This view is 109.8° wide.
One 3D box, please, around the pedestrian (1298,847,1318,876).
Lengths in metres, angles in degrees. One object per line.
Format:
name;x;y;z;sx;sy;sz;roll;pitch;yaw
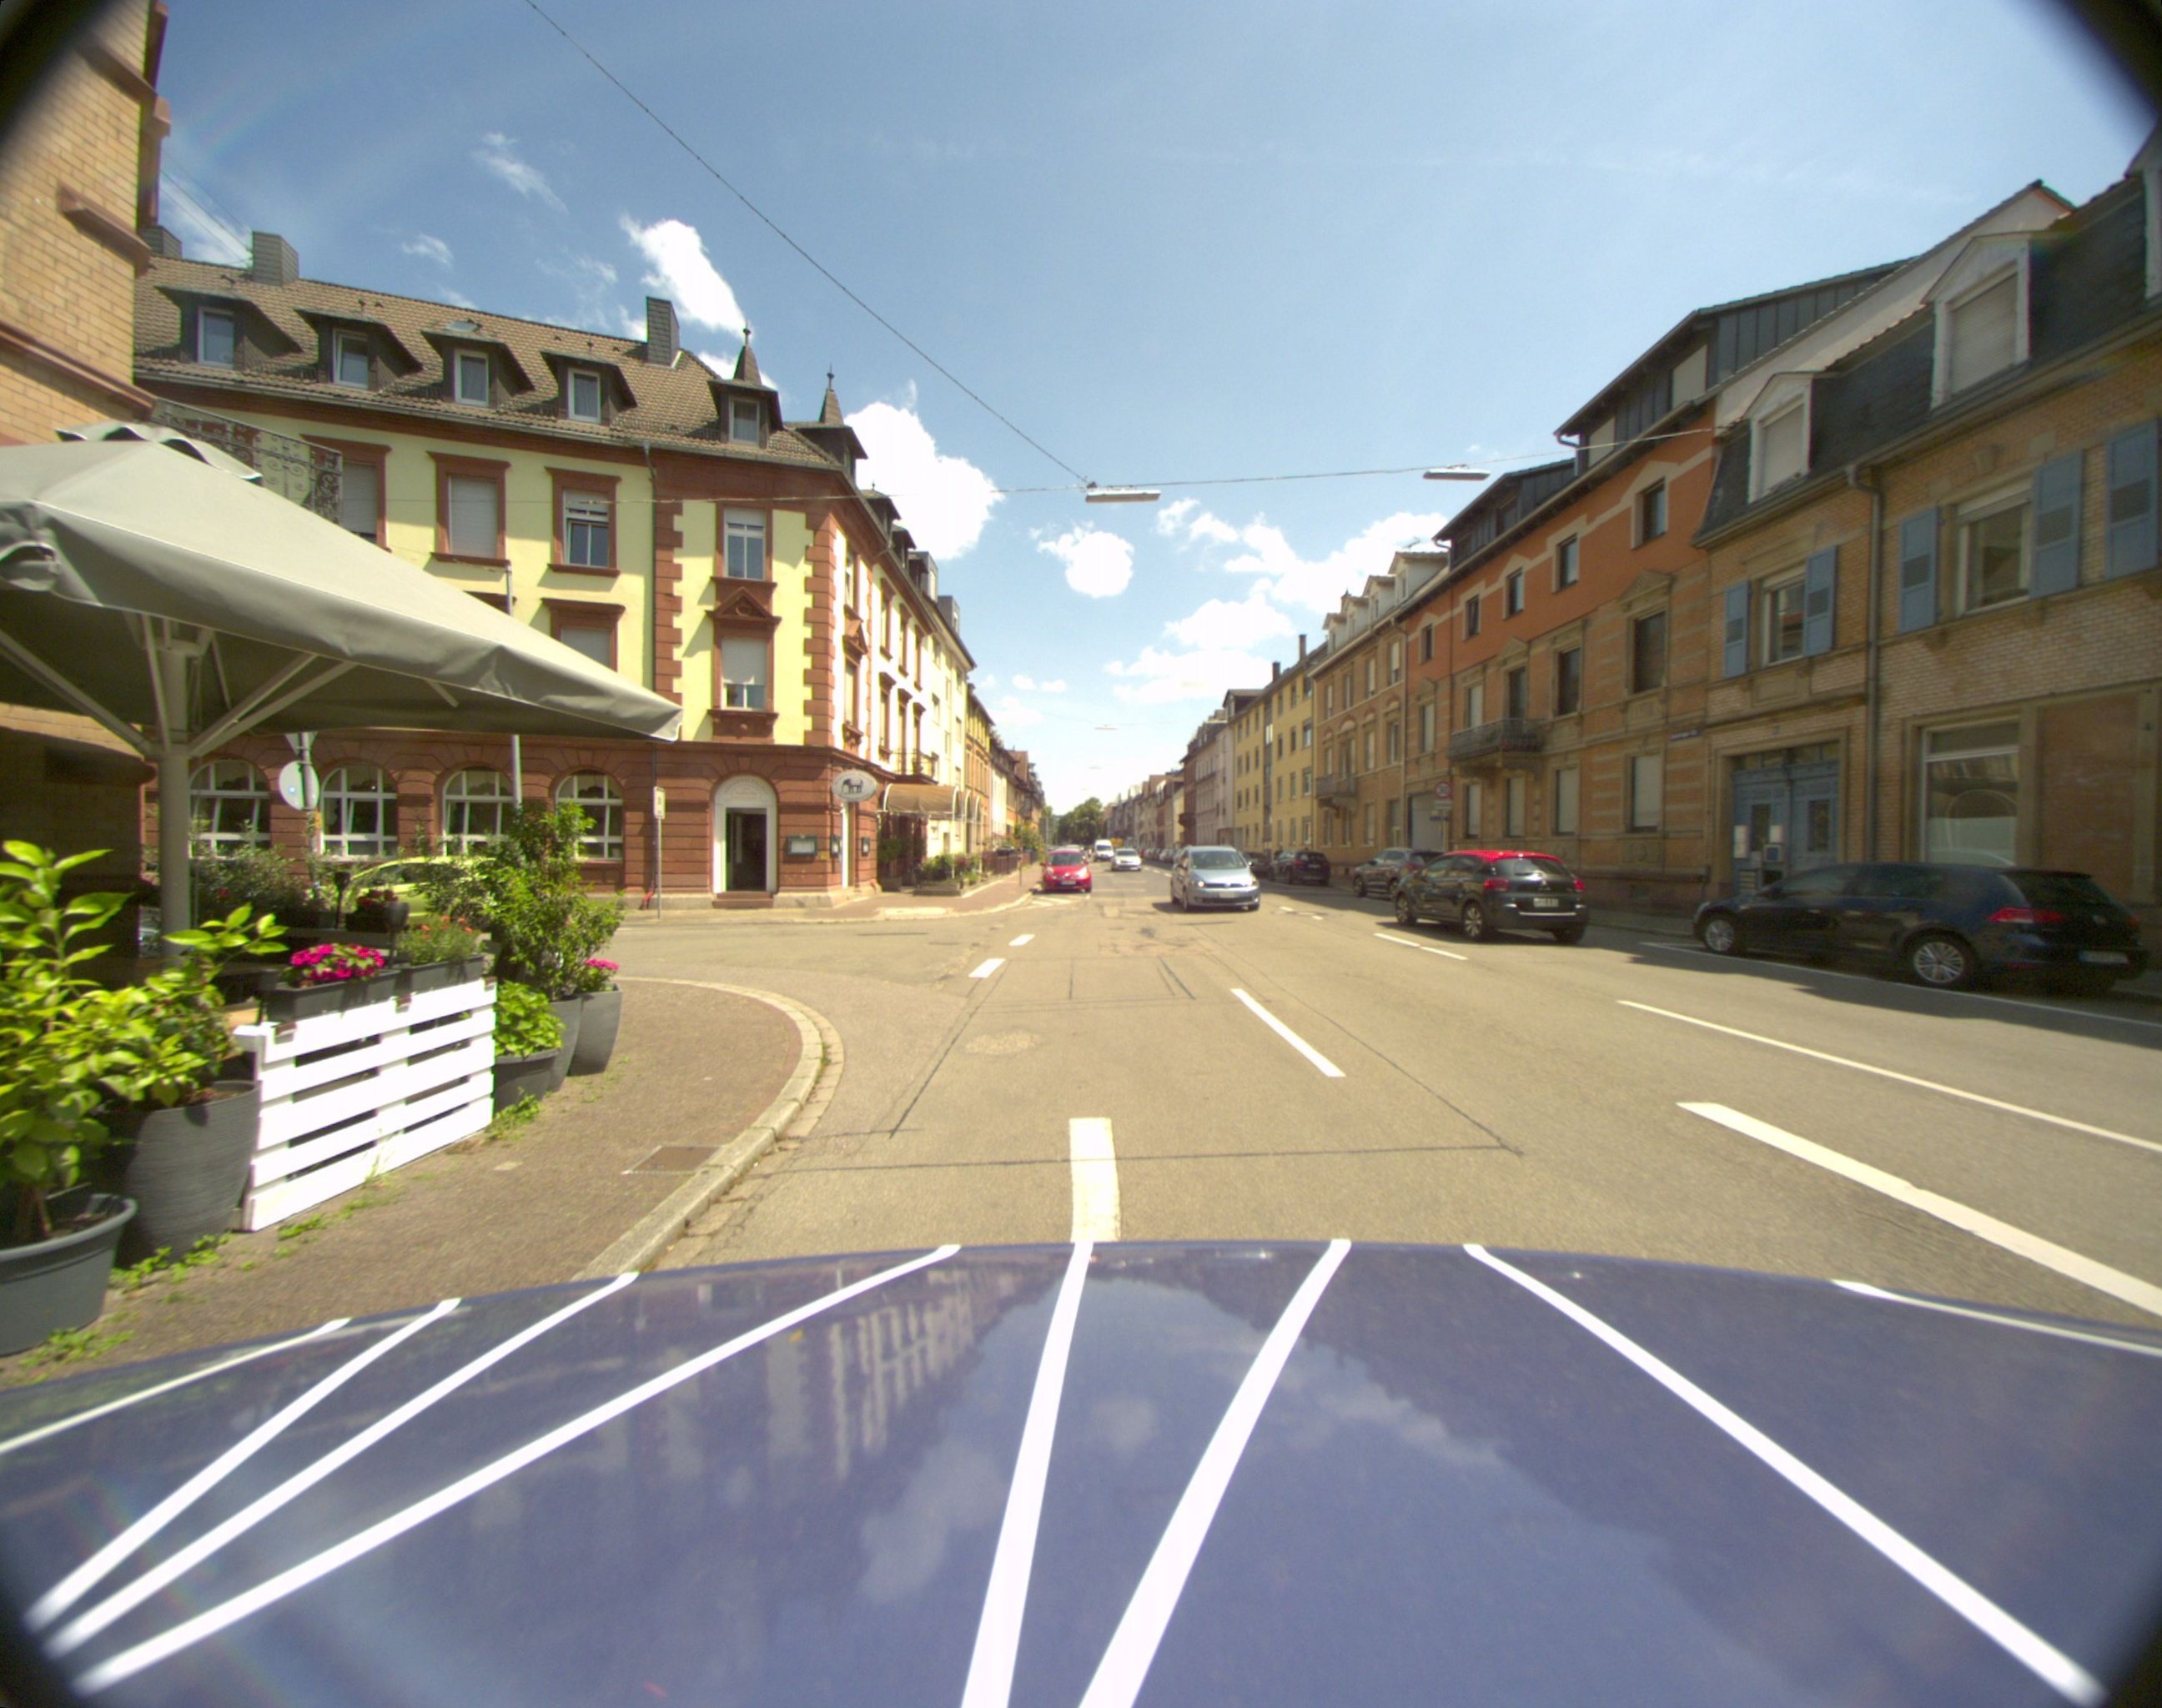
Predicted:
pedestrian;12.200;0.412;40.832;0.804;1.526;0.876;1;1;4

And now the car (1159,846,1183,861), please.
car;9.454;-0.041;80.261;1.750;1.403;4.102;4;1;-4

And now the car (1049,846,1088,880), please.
car;-0.578;0.429;38.351;1.762;1.542;4.065;-2;1;1

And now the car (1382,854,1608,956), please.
car;6.995;0.757;13.404;1.706;1.469;4.133;1;1;0

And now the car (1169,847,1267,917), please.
car;3.349;0.617;19.253;1.759;1.559;3.999;0;1;0

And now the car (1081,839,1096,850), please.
car;1.024;-1.341;104.236;1.905;1.489;4.486;0;1;0

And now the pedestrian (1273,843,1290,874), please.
pedestrian;11.479;0.253;43.573;0.804;1.746;0.876;1;1;7

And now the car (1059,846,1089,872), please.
car;-0.479;0.287;48.883;1.762;1.470;4.417;-2;1;-2

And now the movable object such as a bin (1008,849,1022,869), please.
movable object such as a bin;-3.881;0.287;44.771;0.723;1.181;0.747;1;1;-1

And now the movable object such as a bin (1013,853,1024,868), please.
movable object such as a bin;-3.798;0.396;46.275;0.626;0.923;0.612;1;1;-1

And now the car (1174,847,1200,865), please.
car;9.516;0.175;68.500;1.749;1.403;4.283;4;1;0

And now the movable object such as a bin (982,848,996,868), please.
movable object such as a bin;-5.387;0.250;44.698;0.723;1.161;0.747;1;1;-1

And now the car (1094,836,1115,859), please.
car;2.367;-0.701;77.588;1.905;2.261;5.670;0;1;-1

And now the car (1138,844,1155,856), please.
car;8.965;-0.559;103.916;1.665;1.403;4.102;4;1;-4

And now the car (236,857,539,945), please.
car;-13.431;0.847;15.021;4.002;1.471;1.801;0;3;-14

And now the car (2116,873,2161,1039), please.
car;10.251;0.963;4.340;1.870;1.398;4.835;4;1;-3

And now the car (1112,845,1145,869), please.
car;3.034;0.155;49.313;1.905;1.489;4.486;0;1;0

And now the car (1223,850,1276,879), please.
car;9.738;0.554;44.215;1.910;1.443;4.685;4;1;0

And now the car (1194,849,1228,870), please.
car;9.509;0.380;55.672;1.749;1.403;3.914;4;1;0

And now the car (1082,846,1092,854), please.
car;1.089;-0.776;137.477;1.810;1.425;3.999;2;1;0

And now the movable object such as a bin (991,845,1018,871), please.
movable object such as a bin;-4.214;0.188;42.013;1.285;1.388;1.364;1;1;0

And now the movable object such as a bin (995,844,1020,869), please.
movable object such as a bin;-4.188;0.144;43.382;1.285;1.402;1.304;1;1;0

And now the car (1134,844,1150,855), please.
car;8.664;-0.686;108.816;1.665;1.403;4.102;4;1;-4

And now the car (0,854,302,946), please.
car;-17.536;0.786;14.022;4.002;1.471;1.801;0;3;-14

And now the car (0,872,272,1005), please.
car;-12.644;0.931;8.861;4.001;1.357;1.914;0;1;-11

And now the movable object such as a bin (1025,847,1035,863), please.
movable object such as a bin;-3.877;0.076;57.859;0.753;1.235;0.877;1;1;-2

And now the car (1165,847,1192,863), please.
car;9.433;0.070;73.911;1.749;1.403;4.511;4;1;-3

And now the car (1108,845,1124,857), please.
car;5.050;-0.475;110.993;1.913;1.601;4.445;1;1;-3

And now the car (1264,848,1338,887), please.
car;10.007;0.549;34.917;1.870;1.543;4.499;4;1;-2

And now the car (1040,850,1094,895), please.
car;-0.566;0.618;27.750;1.762;1.470;3.782;-2;1;-3

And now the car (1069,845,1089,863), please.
car;-0.190;0.006;66.695;1.709;1.470;3.930;-2;1;-1

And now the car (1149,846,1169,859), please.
car;9.351;-0.157;91.377;1.750;1.403;4.102;4;1;-4

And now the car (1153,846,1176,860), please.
car;9.424;-0.103;85.877;1.750;1.403;4.102;4;1;-4

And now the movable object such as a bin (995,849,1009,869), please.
movable object such as a bin;-4.641;0.274;44.750;0.723;1.161;0.747;1;1;-1

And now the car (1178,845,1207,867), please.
car;9.149;0.167;62.108;1.746;1.579;3.957;4;1;15

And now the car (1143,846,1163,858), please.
car;9.163;-0.291;97.086;1.750;1.403;4.102;4;1;-4

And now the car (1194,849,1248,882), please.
car;6.809;0.515;37.431;1.765;1.486;4.244;1;1;-2

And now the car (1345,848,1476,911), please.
car;9.965;0.685;23.425;1.870;1.618;4.498;4;1;-2

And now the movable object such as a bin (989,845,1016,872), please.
movable object such as a bin;-4.193;0.232;40.597;1.285;1.388;1.412;1;1;0

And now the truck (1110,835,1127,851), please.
truck;6.676;-1.942;135.761;2.323;2.725;8.066;1;1;-1

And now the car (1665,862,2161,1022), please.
car;10.239;0.924;9.765;1.870;1.398;4.328;4;1;-4
